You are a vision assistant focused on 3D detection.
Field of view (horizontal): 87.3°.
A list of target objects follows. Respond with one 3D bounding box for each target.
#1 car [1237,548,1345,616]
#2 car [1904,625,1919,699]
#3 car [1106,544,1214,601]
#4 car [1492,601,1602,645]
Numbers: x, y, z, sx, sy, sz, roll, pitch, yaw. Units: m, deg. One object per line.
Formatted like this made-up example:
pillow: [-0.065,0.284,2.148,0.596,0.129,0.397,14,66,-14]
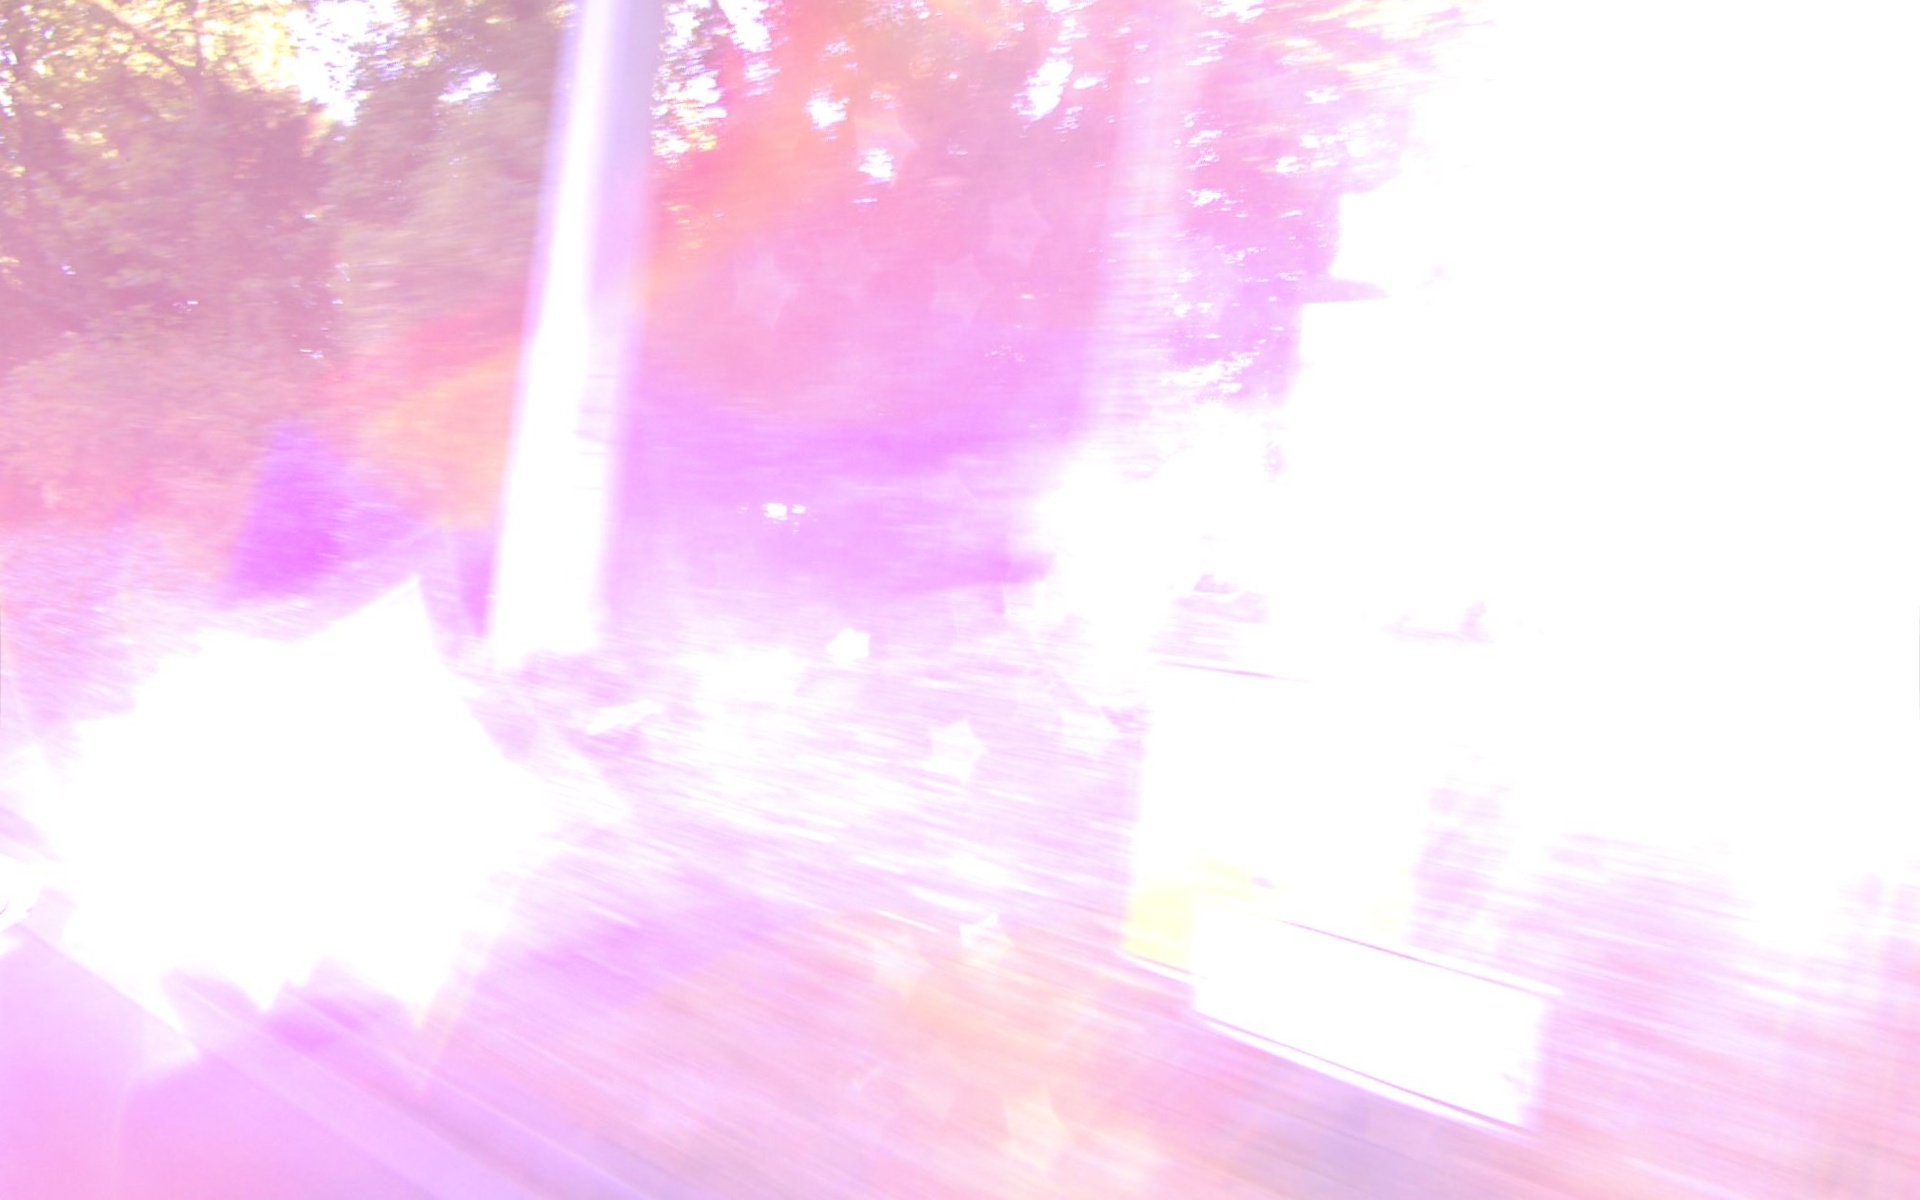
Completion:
car: [9.735,-0.486,29.449,1.779,1.572,3.986,7,1,35]
car: [22.413,1.486,21.392,1.794,1.709,4.222,7,1,21]
car: [7.195,-0.956,35.939,1.784,1.572,3.975,8,2,44]
car: [27.451,1.054,47.145,3.923,1.572,1.807,7,1,12]
